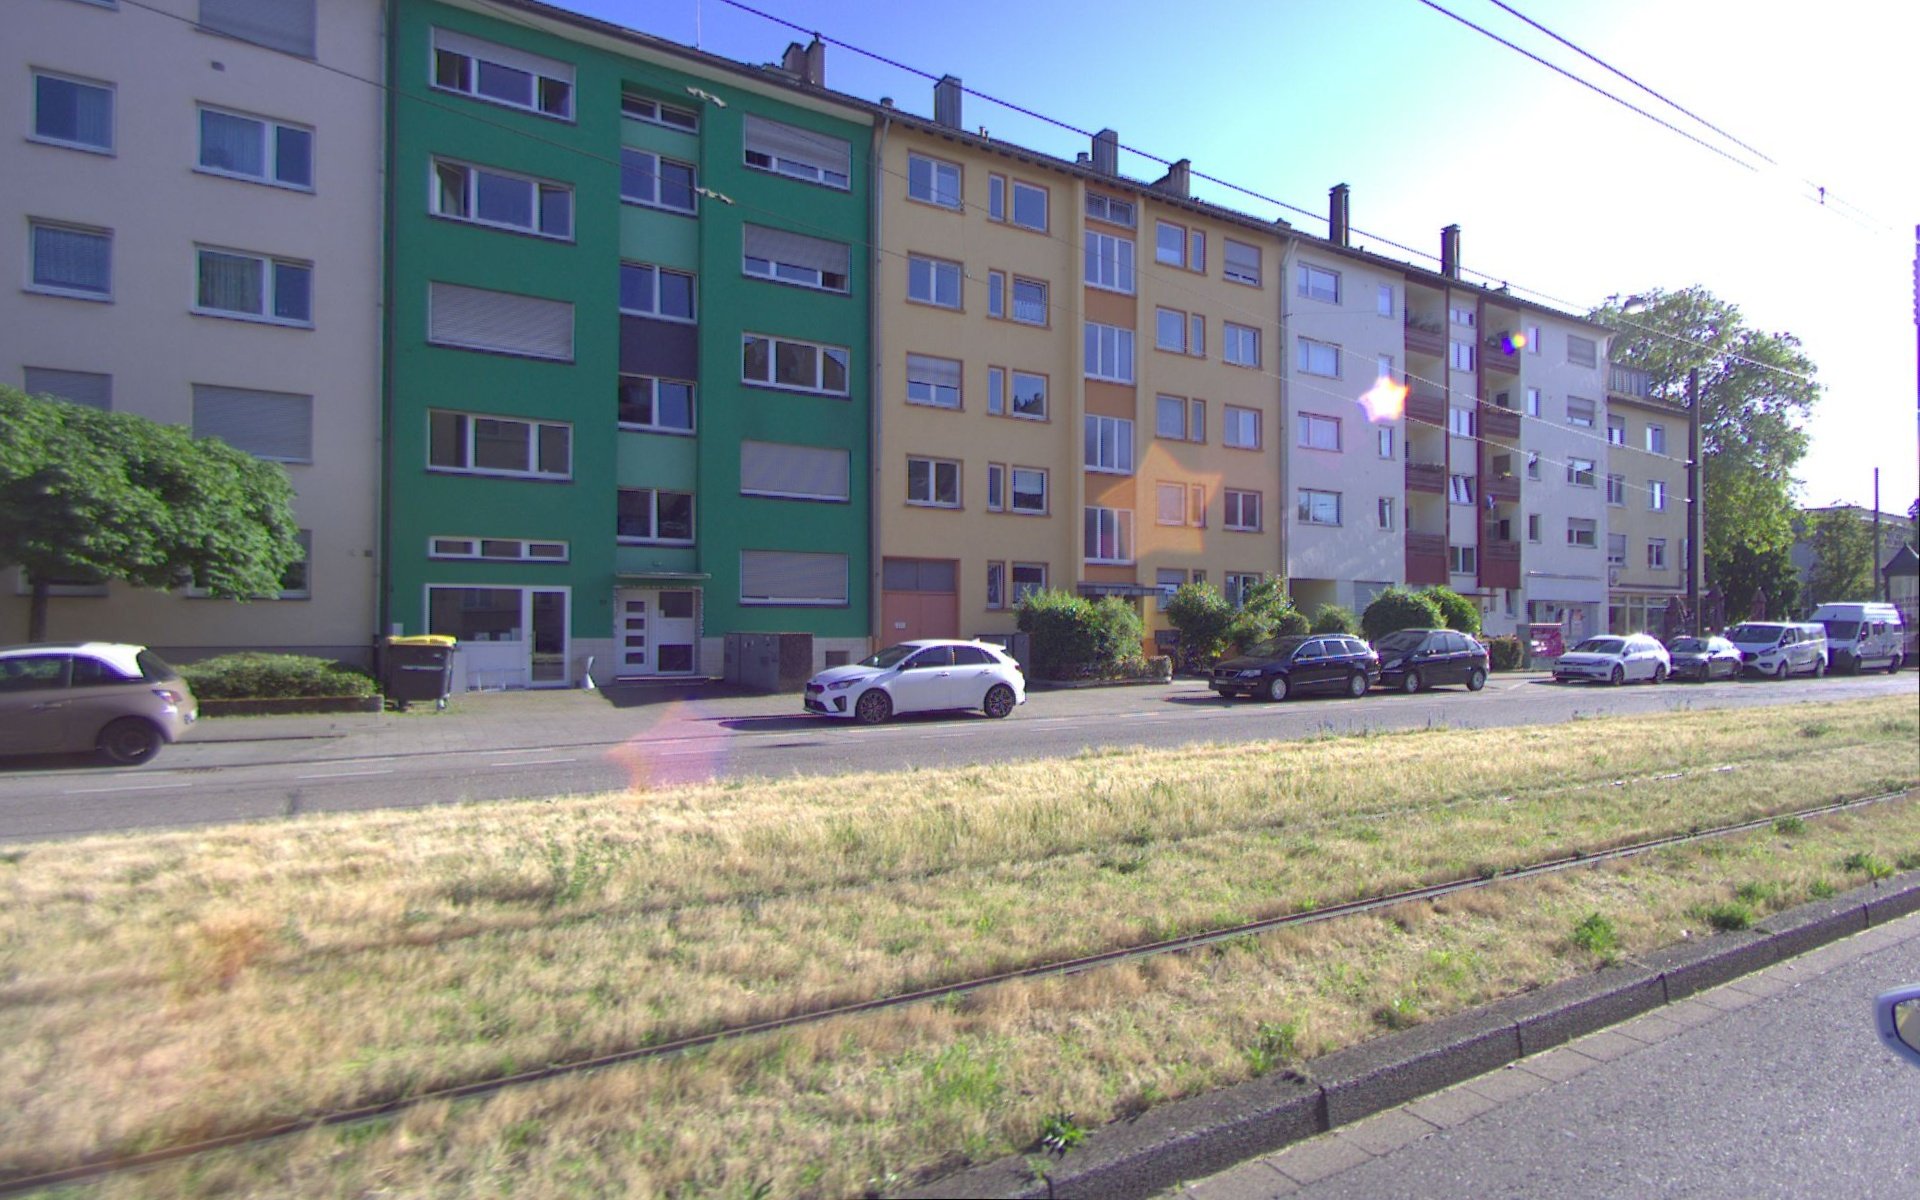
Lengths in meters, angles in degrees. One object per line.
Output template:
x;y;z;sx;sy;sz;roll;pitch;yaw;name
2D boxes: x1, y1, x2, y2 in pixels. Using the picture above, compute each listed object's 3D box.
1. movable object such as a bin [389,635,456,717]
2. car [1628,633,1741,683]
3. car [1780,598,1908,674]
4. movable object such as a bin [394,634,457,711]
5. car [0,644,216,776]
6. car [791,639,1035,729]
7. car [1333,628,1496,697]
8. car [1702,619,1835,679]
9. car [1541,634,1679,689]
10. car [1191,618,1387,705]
-9.863;1.377;18.478;1.026;1.386;1.142;1;1;-27;movable object such as a bin
24.628;1.923;34.107;4.280;1.535;1.684;1;-1;-33;car
36.034;1.417;40.893;6.153;2.907;2.023;1;0;-30;car
-10.393;1.396;19.565;1.026;1.386;1.142;1;1;-27;movable object such as a bin
-11.718;1.336;12.592;3.693;1.461;1.626;1;0;-33;car
-0.848;1.503;18.966;4.324;1.474;1.720;1;-1;-30;car
12.213;1.609;26.964;4.102;1.629;1.984;1;1;-30;car
30.143;1.777;37.404;5.305;2.048;2.023;1;1;-29;car
20.478;1.867;31.585;4.651;1.511;1.881;1;0;-32;car
7.974;1.413;24.287;4.555;1.862;1.984;1;1;-30;car
